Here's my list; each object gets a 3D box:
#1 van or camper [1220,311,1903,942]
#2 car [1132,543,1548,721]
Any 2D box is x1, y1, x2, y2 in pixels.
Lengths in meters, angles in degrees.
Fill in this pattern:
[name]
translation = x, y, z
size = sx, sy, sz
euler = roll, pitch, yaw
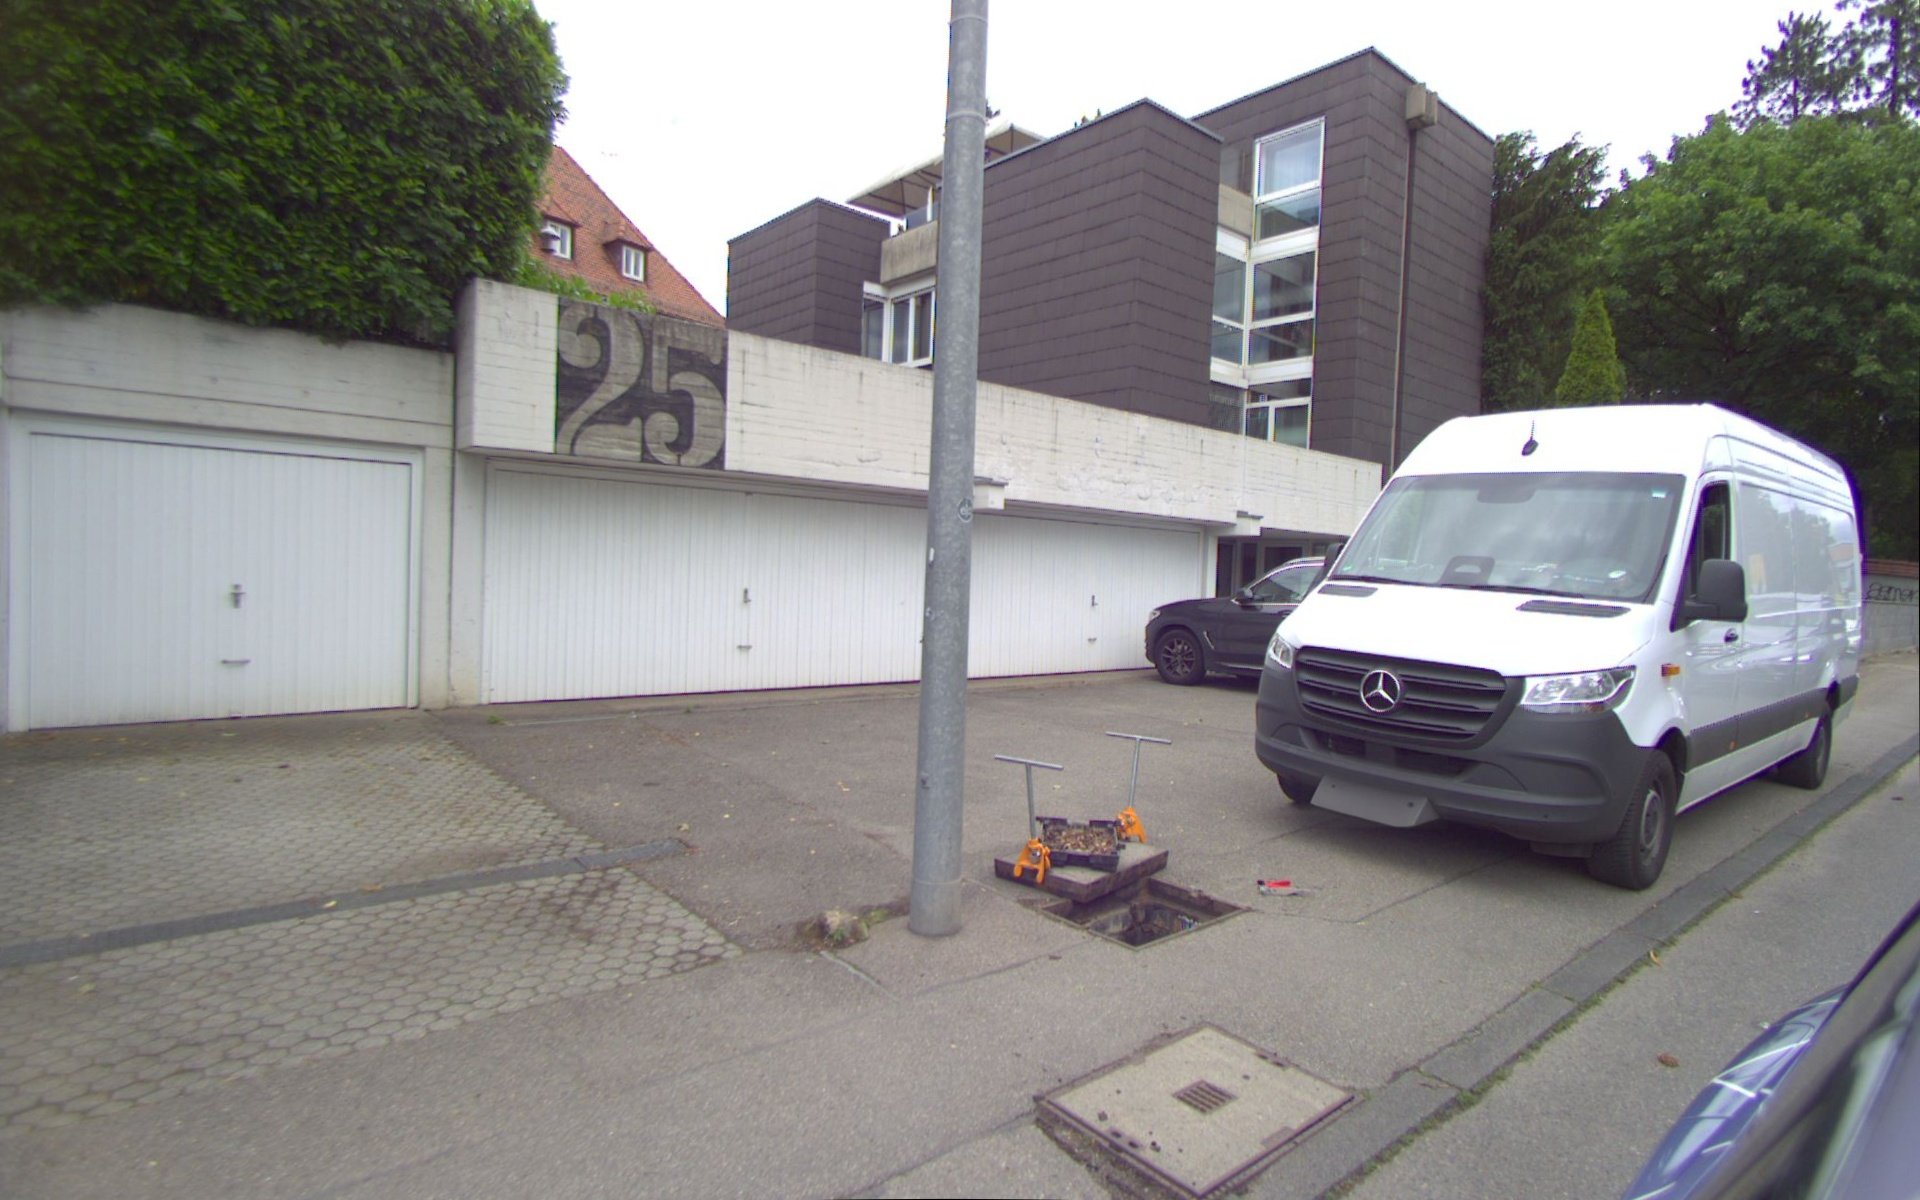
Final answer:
[van or camper]
translation = 4.641, 0.018, 7.101
size = 6.429, 2.656, 1.996
euler = -1, 5, -41
[car]
translation = 4.304, 0.213, 12.111
size = 1.665, 1.695, 4.393
euler = 0, 3, -39
